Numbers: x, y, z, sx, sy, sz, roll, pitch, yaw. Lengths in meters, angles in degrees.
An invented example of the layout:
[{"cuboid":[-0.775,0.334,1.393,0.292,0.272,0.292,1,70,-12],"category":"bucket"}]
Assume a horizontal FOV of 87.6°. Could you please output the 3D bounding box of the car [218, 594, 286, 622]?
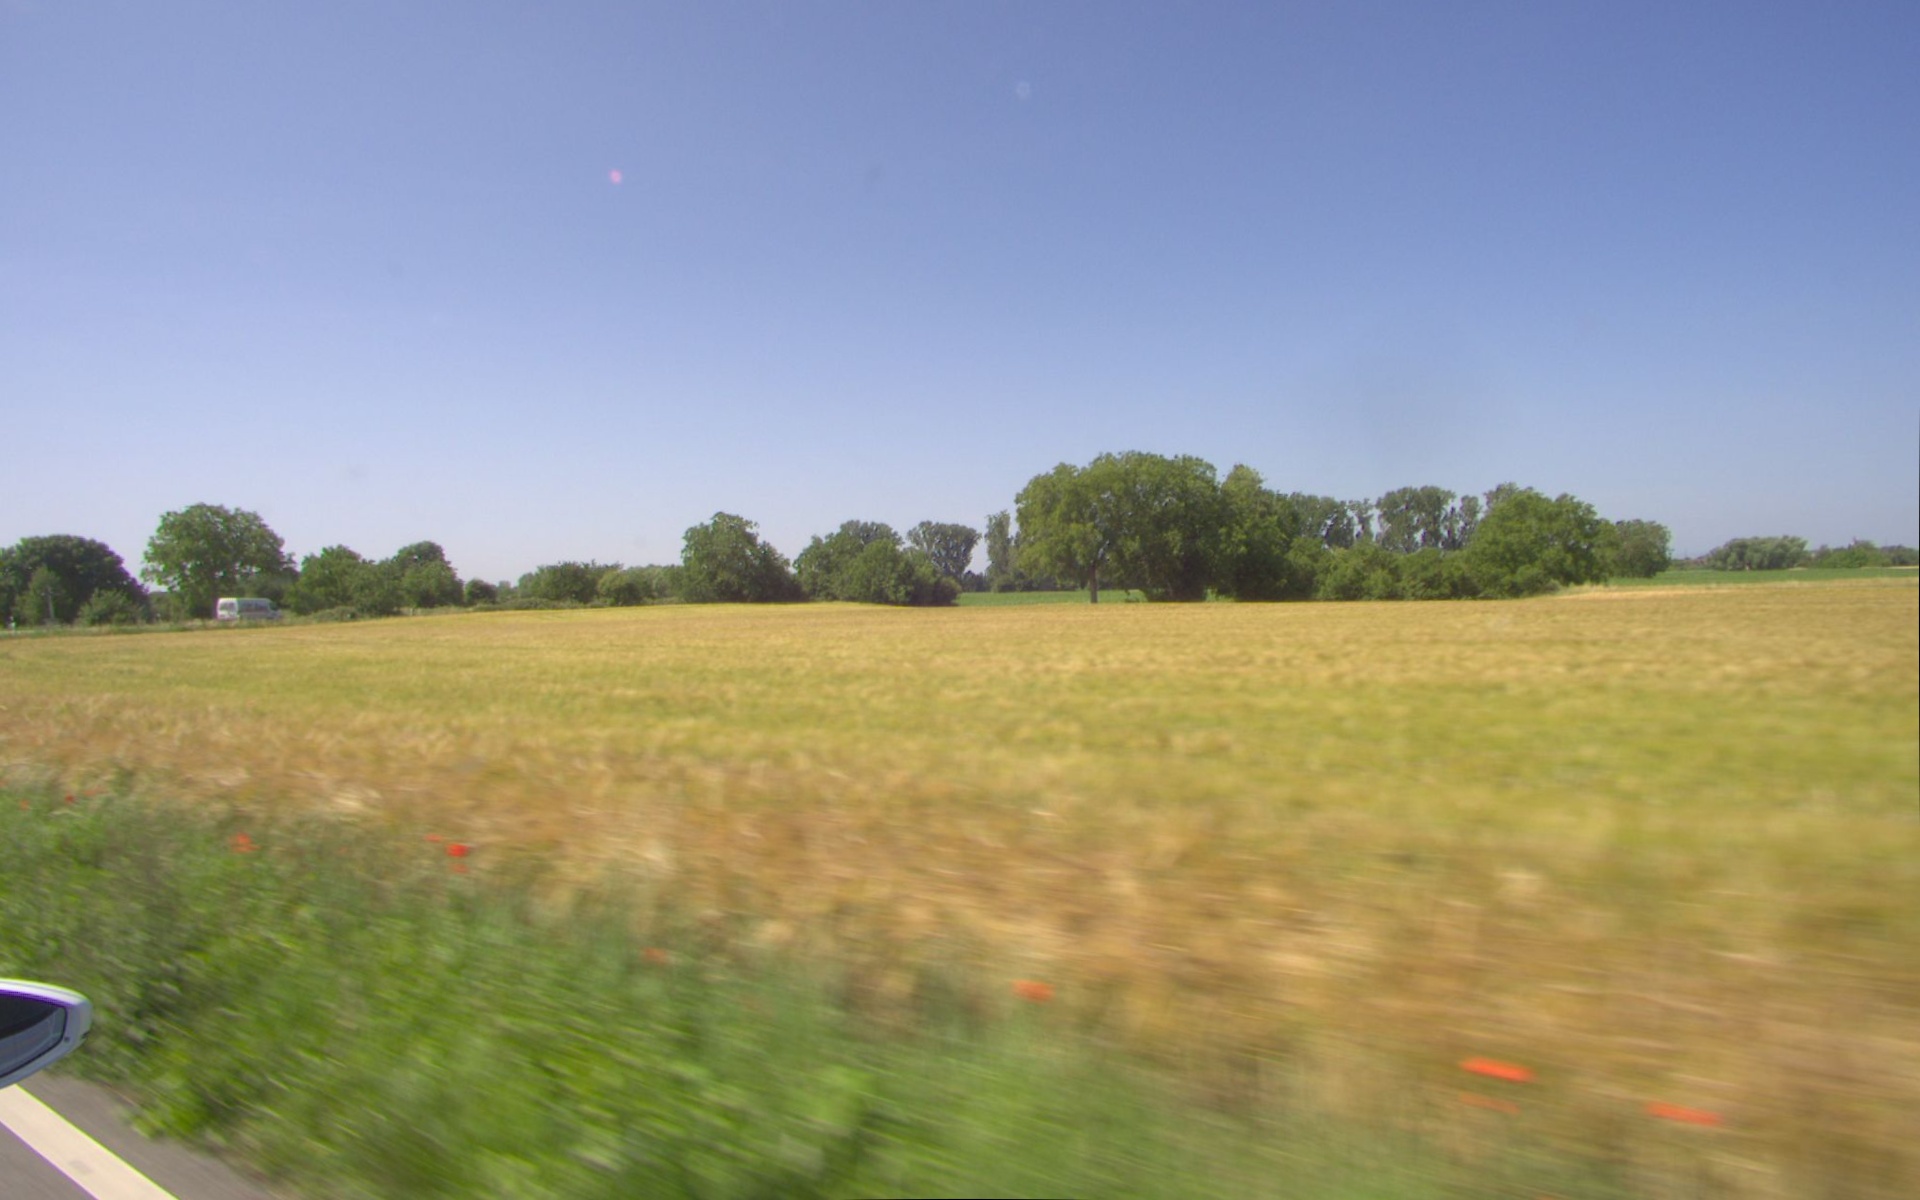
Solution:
[{"cuboid":[-66.191,0.711,93.764,2.070,2.399,5.684,-1,1,3],"category":"car"}]
